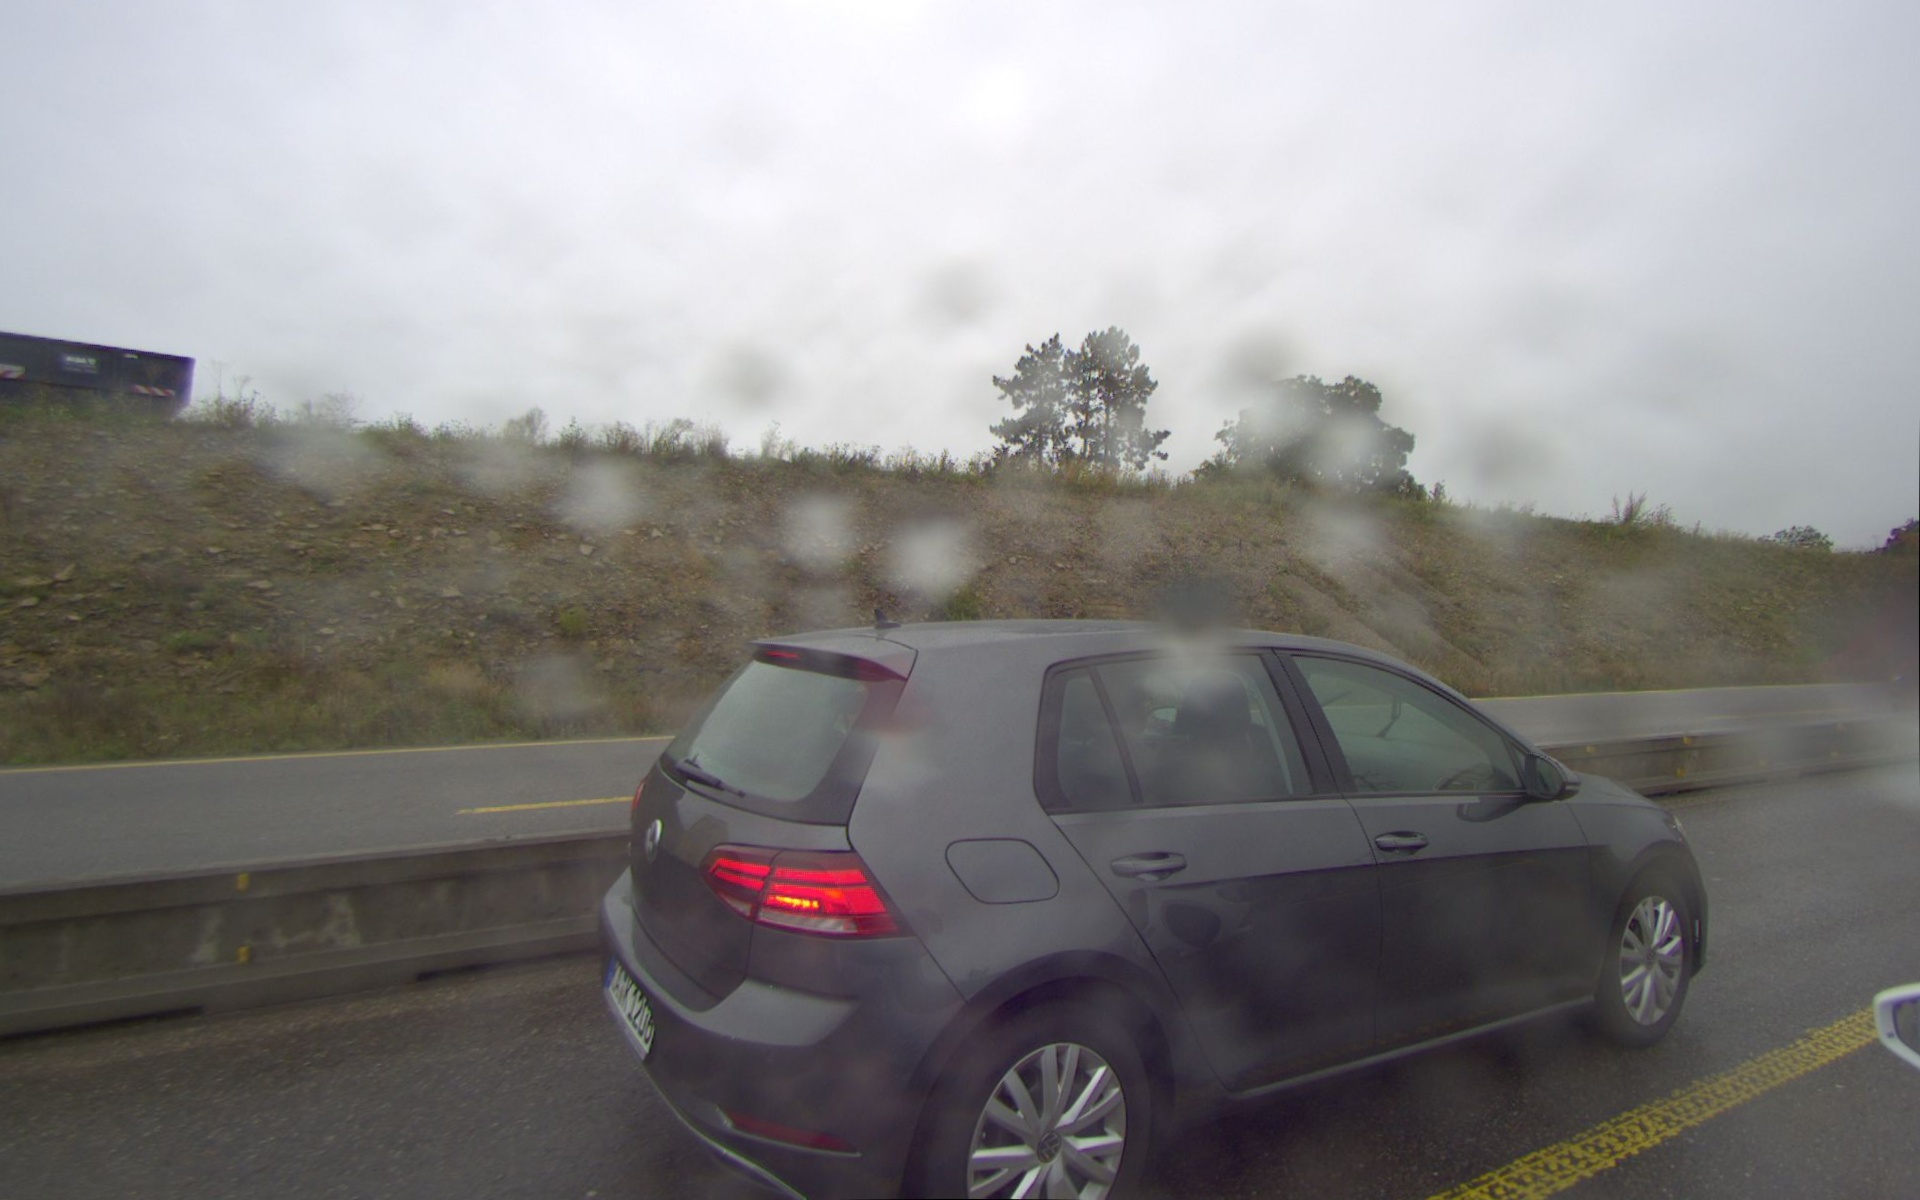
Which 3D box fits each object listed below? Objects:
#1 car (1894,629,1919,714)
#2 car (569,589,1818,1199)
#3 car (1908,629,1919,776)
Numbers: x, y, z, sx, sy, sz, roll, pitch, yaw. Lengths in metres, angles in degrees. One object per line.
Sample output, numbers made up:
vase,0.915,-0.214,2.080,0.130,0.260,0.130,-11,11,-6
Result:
car,19.183,1.318,18.326,4.494,1.480,1.859,1,1,-30
car,1.046,0.802,3.504,4.316,1.526,1.607,1,-2,-30
car,11.809,1.085,10.348,3.727,1.496,1.822,1,-1,-27
